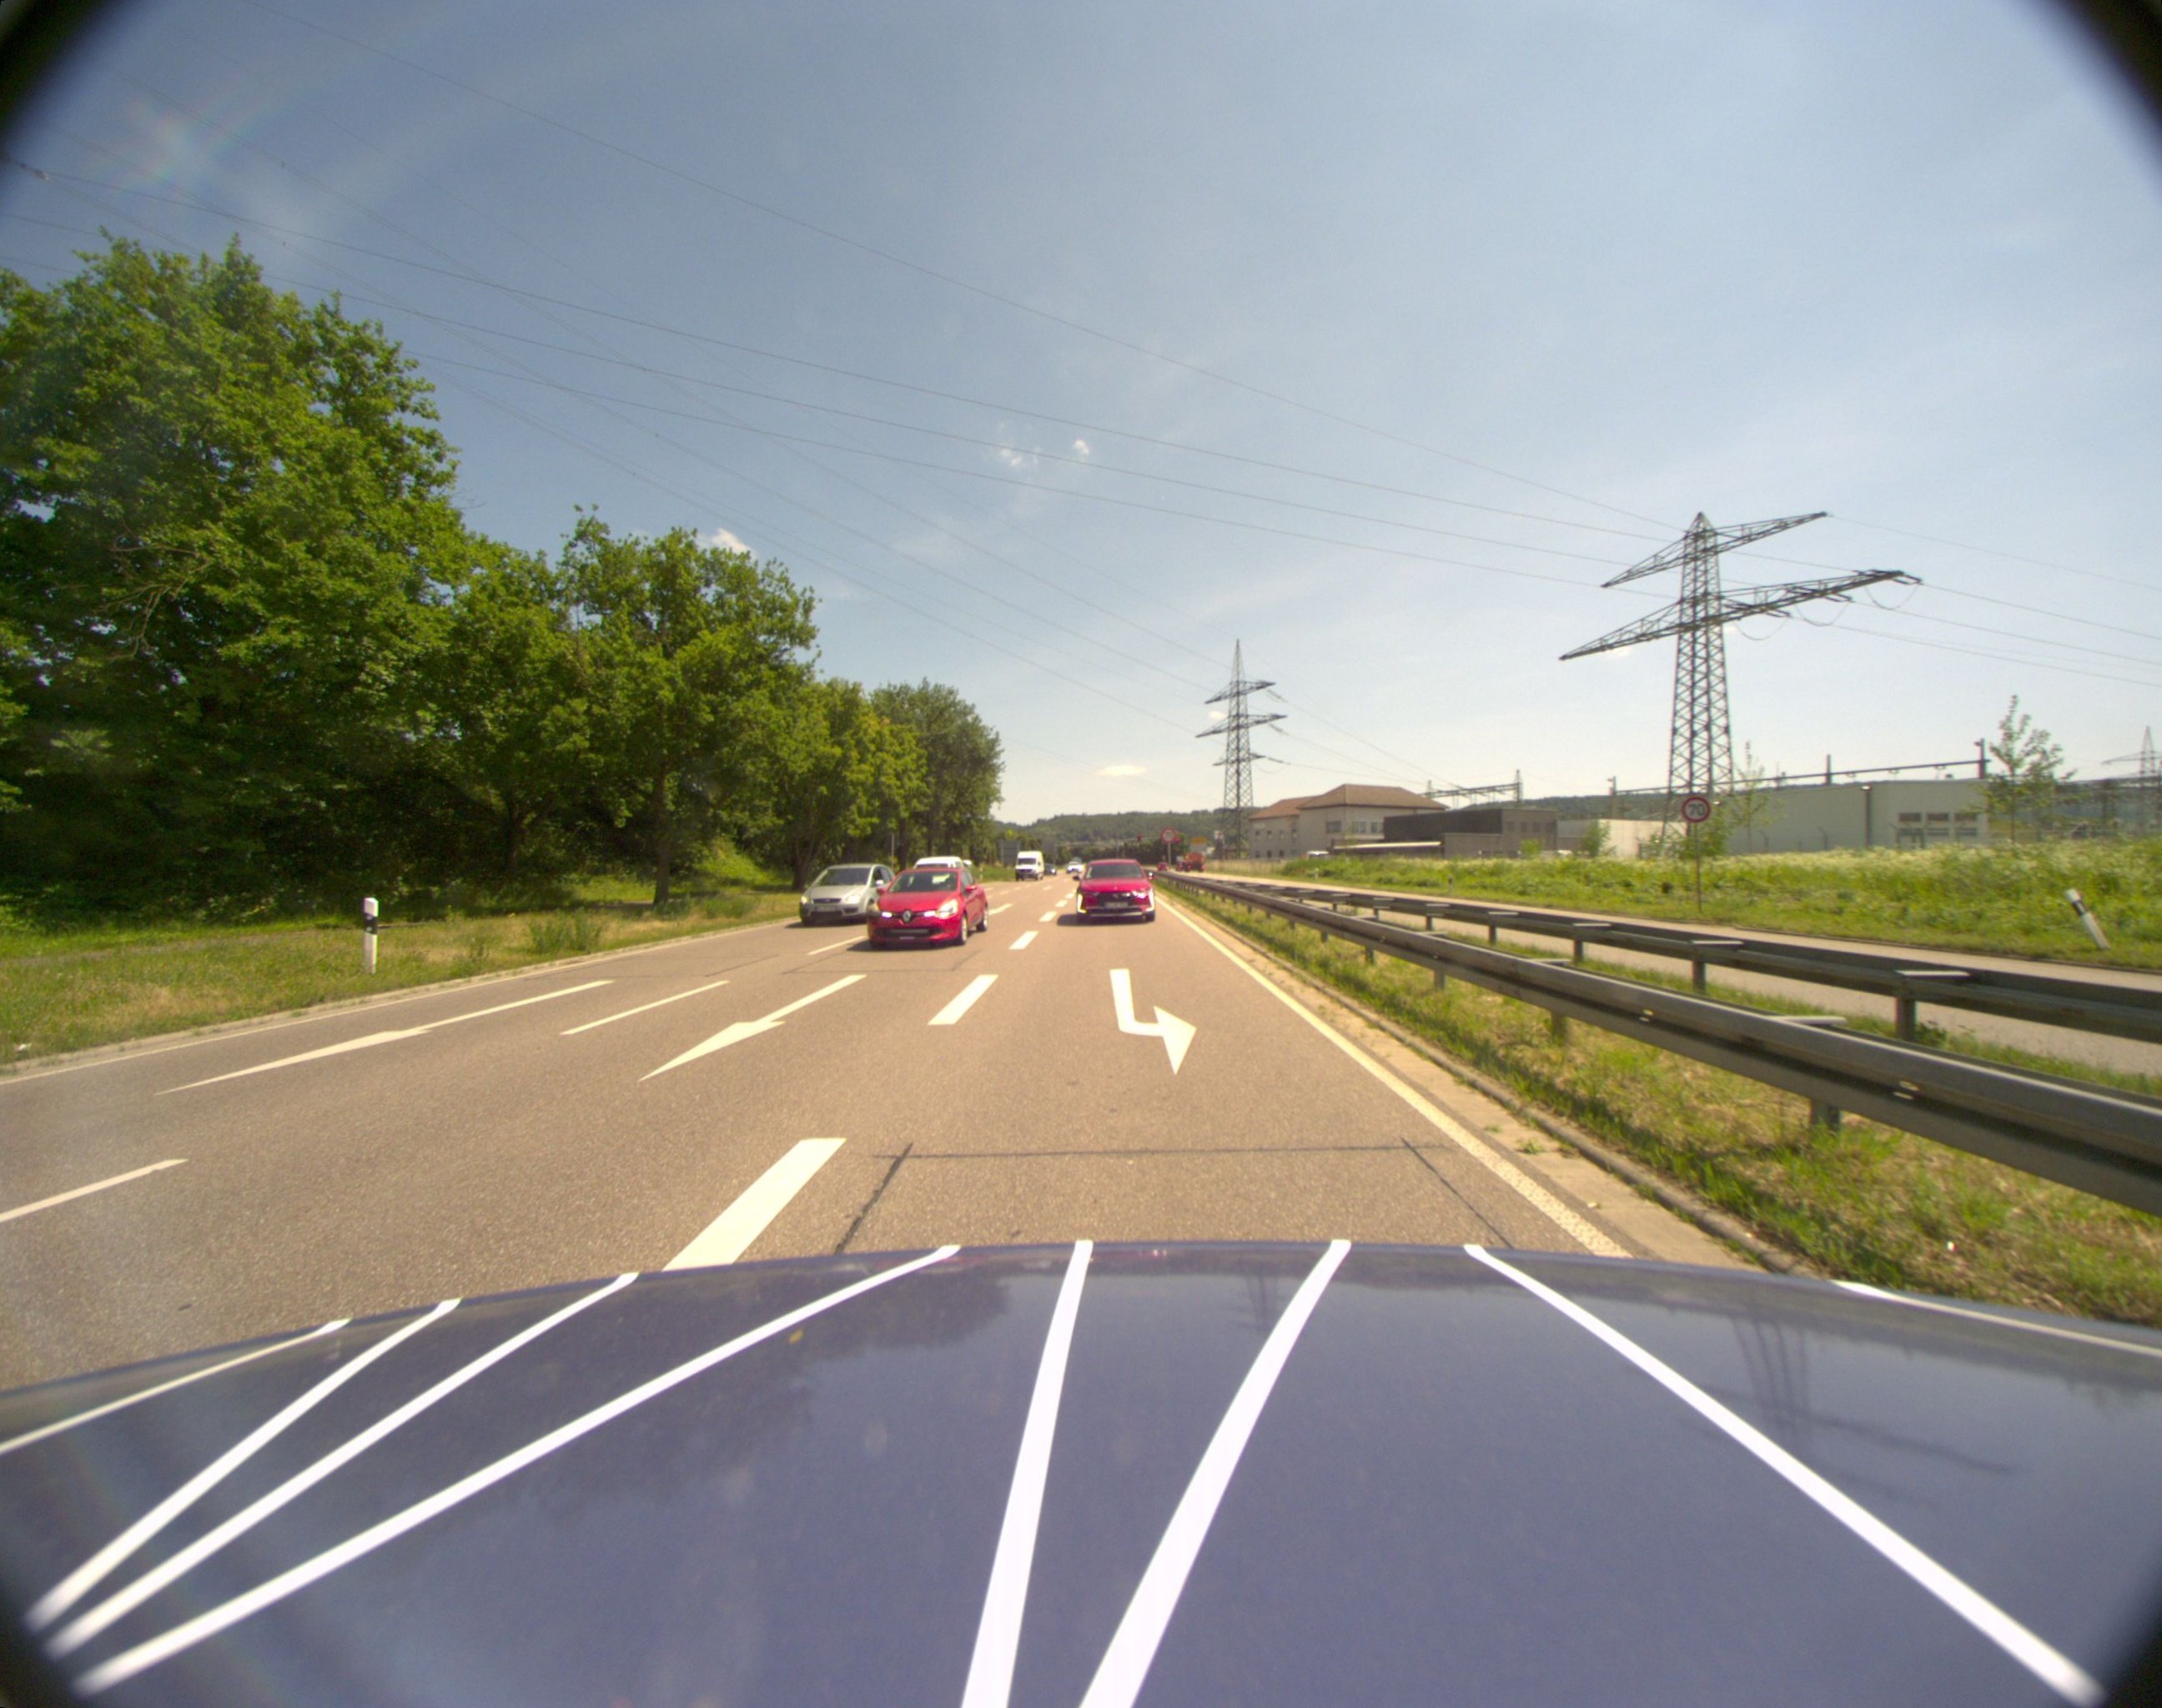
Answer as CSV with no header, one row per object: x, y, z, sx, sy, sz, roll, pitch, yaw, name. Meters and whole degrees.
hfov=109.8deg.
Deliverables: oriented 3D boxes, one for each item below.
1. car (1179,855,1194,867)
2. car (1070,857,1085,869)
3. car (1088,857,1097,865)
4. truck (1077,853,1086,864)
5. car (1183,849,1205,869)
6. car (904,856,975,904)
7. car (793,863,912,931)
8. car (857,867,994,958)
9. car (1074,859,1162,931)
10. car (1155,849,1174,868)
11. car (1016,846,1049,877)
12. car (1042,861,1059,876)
18.223,1.153,131.278,1.999,1.904,3.999,-2,1,-2,car
-0.422,1.239,107.453,1.850,1.559,4.364,-2,0,2,car
2.692,1.606,173.644,1.878,1.674,3.999,-2,1,0,car
0.183,1.091,188.914,2.170,2.428,4.910,-2,1,0,truck
17.642,0.804,118.952,2.606,3.043,5.639,0,0,1,car
-5.804,1.007,31.848,1.809,1.790,5.038,-2,0,2,car
-6.097,1.084,20.806,1.747,1.585,4.273,-2,0,2,car
-2.903,1.037,15.082,1.747,1.453,4.065,-2,0,1,car
0.894,0.901,18.508,1.846,1.453,4.415,-2,0,2,car
13.787,0.769,125.890,2.606,3.043,5.639,0,0,1,car
-4.351,0.632,68.806,2.232,2.592,7.019,-2,0,2,car
-3.817,1.838,94.815,1.878,1.674,3.999,-2,1,0,car
